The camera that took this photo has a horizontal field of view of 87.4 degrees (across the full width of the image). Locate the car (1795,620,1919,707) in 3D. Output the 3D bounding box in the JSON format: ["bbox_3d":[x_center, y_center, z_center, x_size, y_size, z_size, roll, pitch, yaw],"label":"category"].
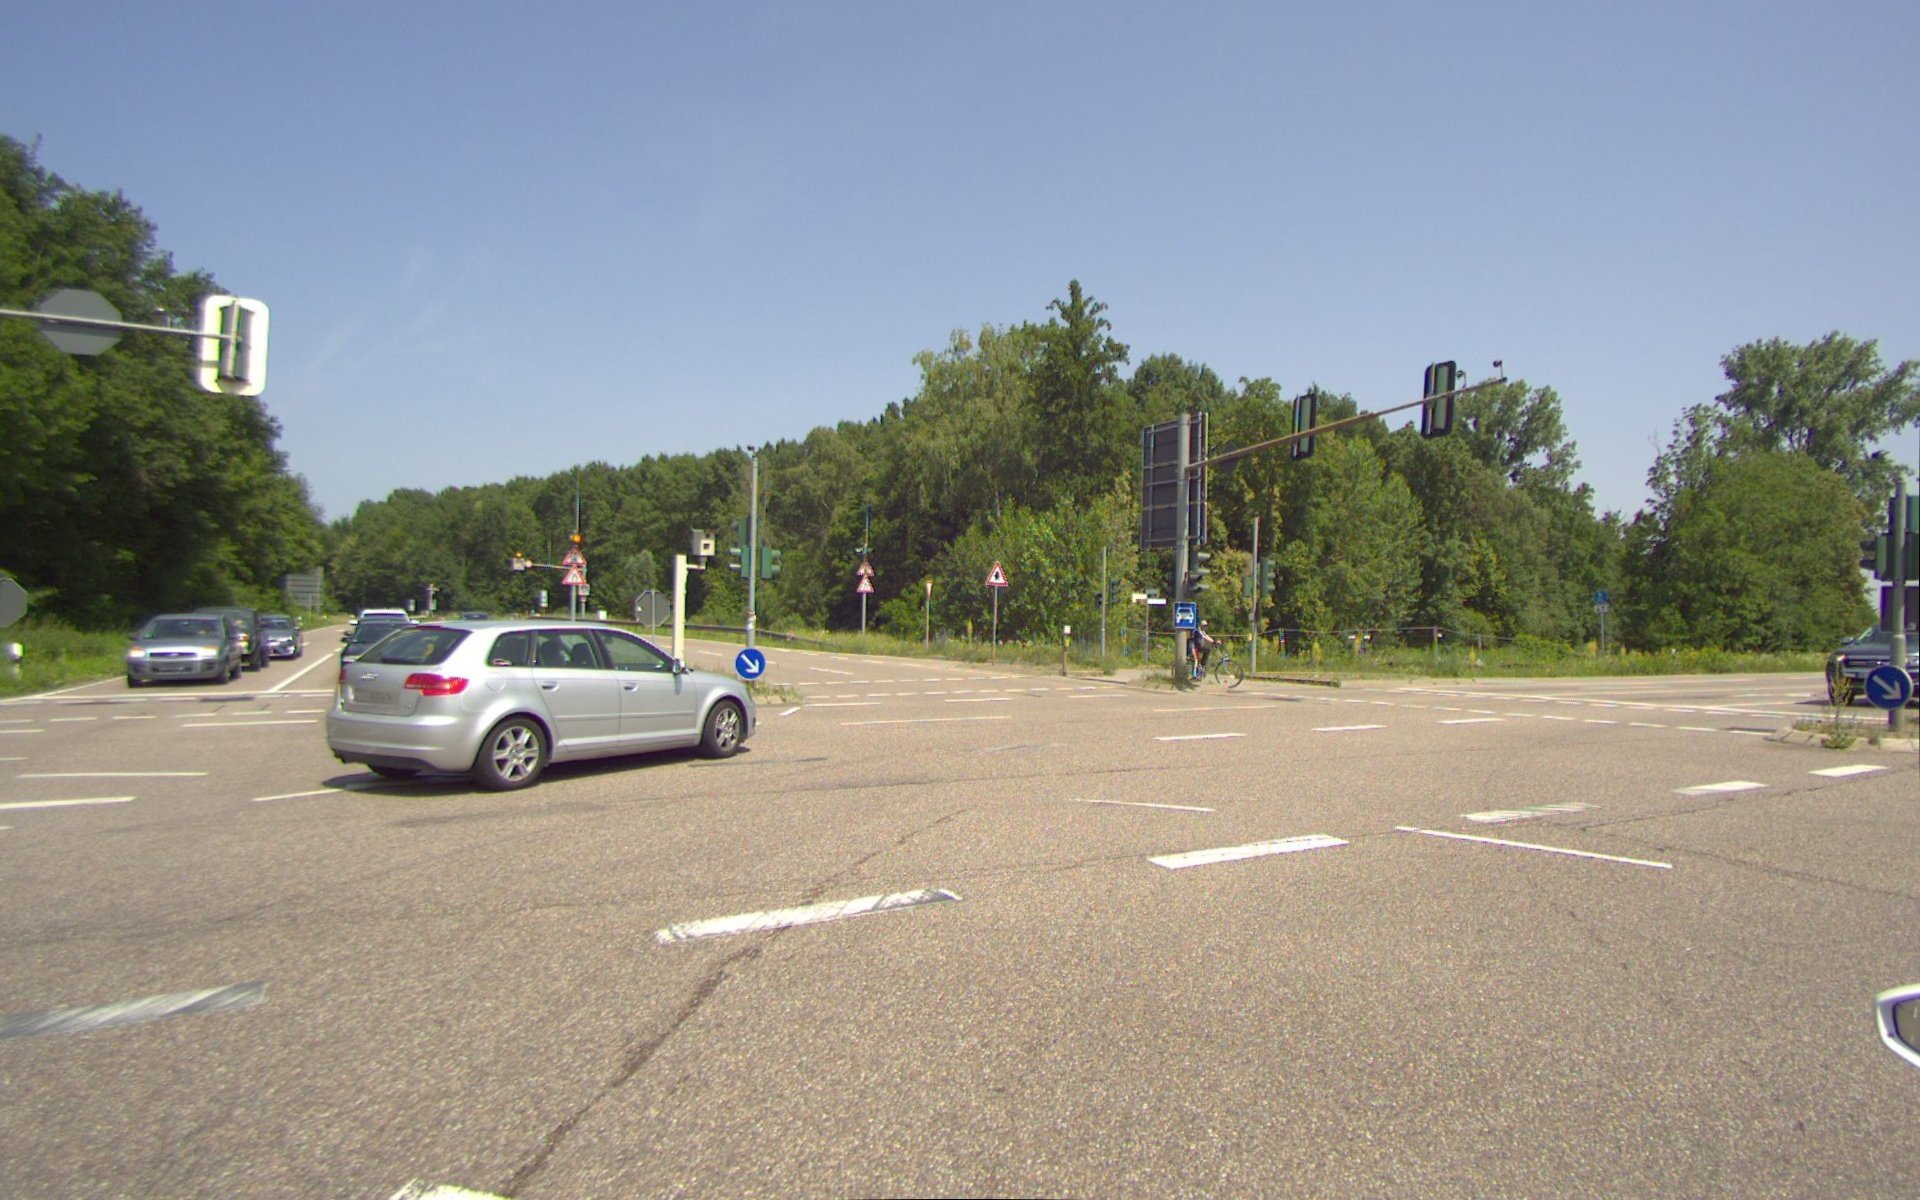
[{"bbox_3d":[20.498,1.322,21.744,5.301,1.700,1.985,2,-2,-30],"label":"car"}]

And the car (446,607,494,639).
[{"bbox_3d":[-25.461,1.186,52.150,1.840,1.538,4.781,2,-1,-31],"label":"car"}]

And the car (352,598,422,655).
[{"bbox_3d":[-20.634,0.944,36.338,2.041,1.921,4.785,1,-1,-28],"label":"car"}]

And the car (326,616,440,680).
[{"bbox_3d":[-13.441,1.060,23.549,2.080,1.307,4.784,2,-1,-29],"label":"car"}]

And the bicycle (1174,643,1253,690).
[{"bbox_3d":[6.277,1.637,24.923,1.831,1.077,0.725,1,-1,8],"label":"bicycle"}]

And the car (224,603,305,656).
[{"bbox_3d":[-23.054,0.959,33.437,1.851,1.657,4.377,2,-1,-30],"label":"car"}]

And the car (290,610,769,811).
[{"bbox_3d":[-3.790,0.835,9.606,1.738,1.410,4.009,2,1,27],"label":"car"}]

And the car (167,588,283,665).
[{"bbox_3d":[-20.122,0.722,27.713,1.976,1.923,4.783,1,-1,-30],"label":"car"}]

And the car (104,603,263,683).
[{"bbox_3d":[-17.286,0.913,22.641,2.104,1.588,4.784,2,-1,-29],"label":"car"}]

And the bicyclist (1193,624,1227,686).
[{"bbox_3d":[6.213,1.356,24.985,0.701,1.479,0.927,1,-1,8],"label":"bicyclist"}]
